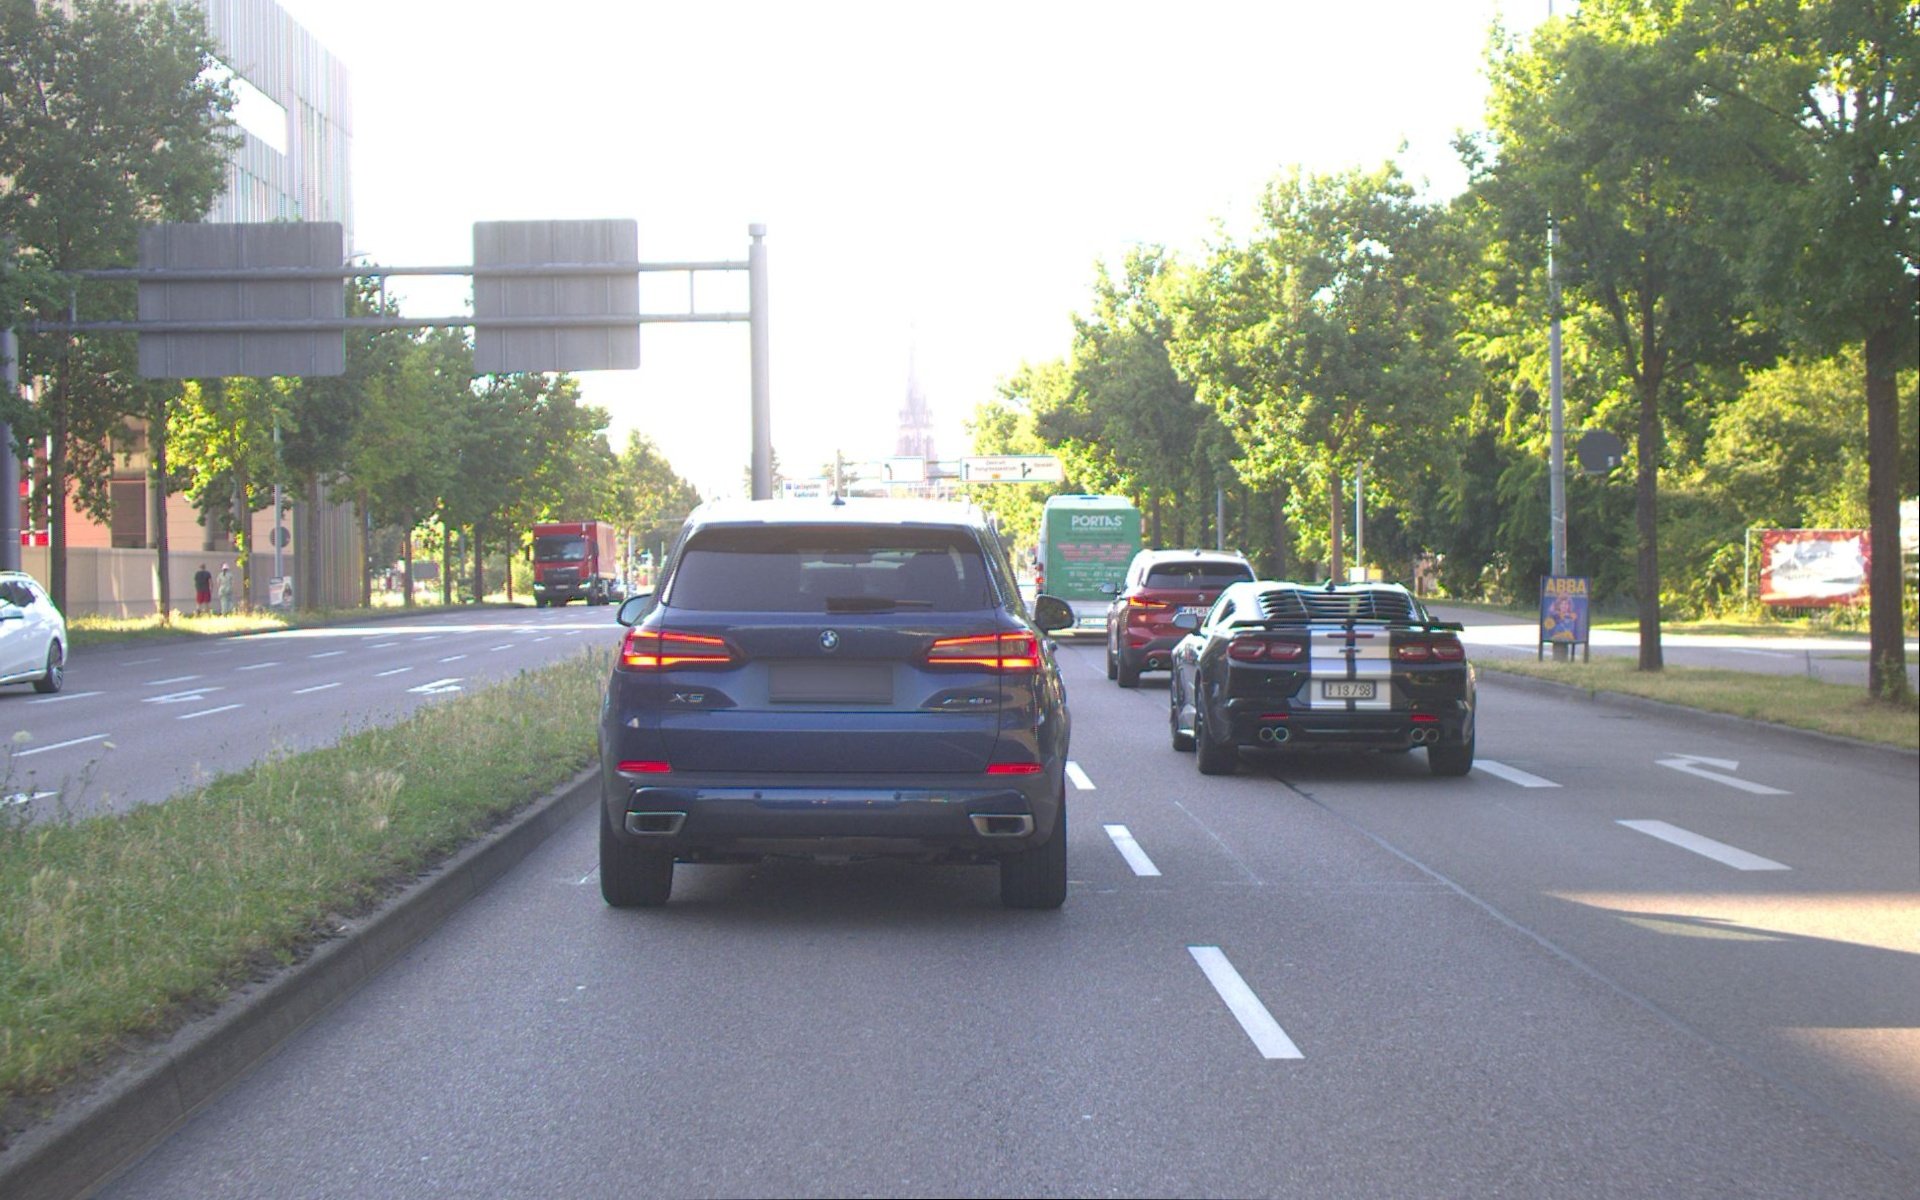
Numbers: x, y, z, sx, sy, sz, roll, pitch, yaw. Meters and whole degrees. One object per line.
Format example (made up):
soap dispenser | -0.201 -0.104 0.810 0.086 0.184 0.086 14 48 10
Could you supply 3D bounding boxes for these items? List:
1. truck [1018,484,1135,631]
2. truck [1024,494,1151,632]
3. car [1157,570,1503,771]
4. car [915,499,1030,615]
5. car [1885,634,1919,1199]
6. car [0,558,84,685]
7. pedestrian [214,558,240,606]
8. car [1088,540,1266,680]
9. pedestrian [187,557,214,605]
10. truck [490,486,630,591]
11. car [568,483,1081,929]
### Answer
truck | 2.170 -0.769 65.193 1.996 2.659 4.000 1 0 -1
truck | 2.207 -0.618 60.448 1.996 2.307 4.000 1 0 -1
car | 2.556 0.476 24.672 1.993 1.290 4.000 1 0 -1
car | 0.245 -0.956 79.682 2.136 2.567 5.088 1 0 -6
car | 2.771 0.775 5.130 1.578 1.408 4.062 1 0 -2
car | -11.934 0.322 40.644 1.993 1.447 4.715 -4 0 -2
pedestrian | -23.307 -0.582 109.319 0.627 1.516 0.718 1 0 2
car | 2.518 0.126 40.763 1.796 1.553 4.000 1 0 -1
pedestrian | -24.240 -0.593 109.725 0.627 1.516 0.718 1 0 2
truck | -16.554 -2.486 143.390 3.989 4.074 11.447 1 0 2
car | -0.557 0.429 15.801 1.993 1.728 4.533 1 0 -1
